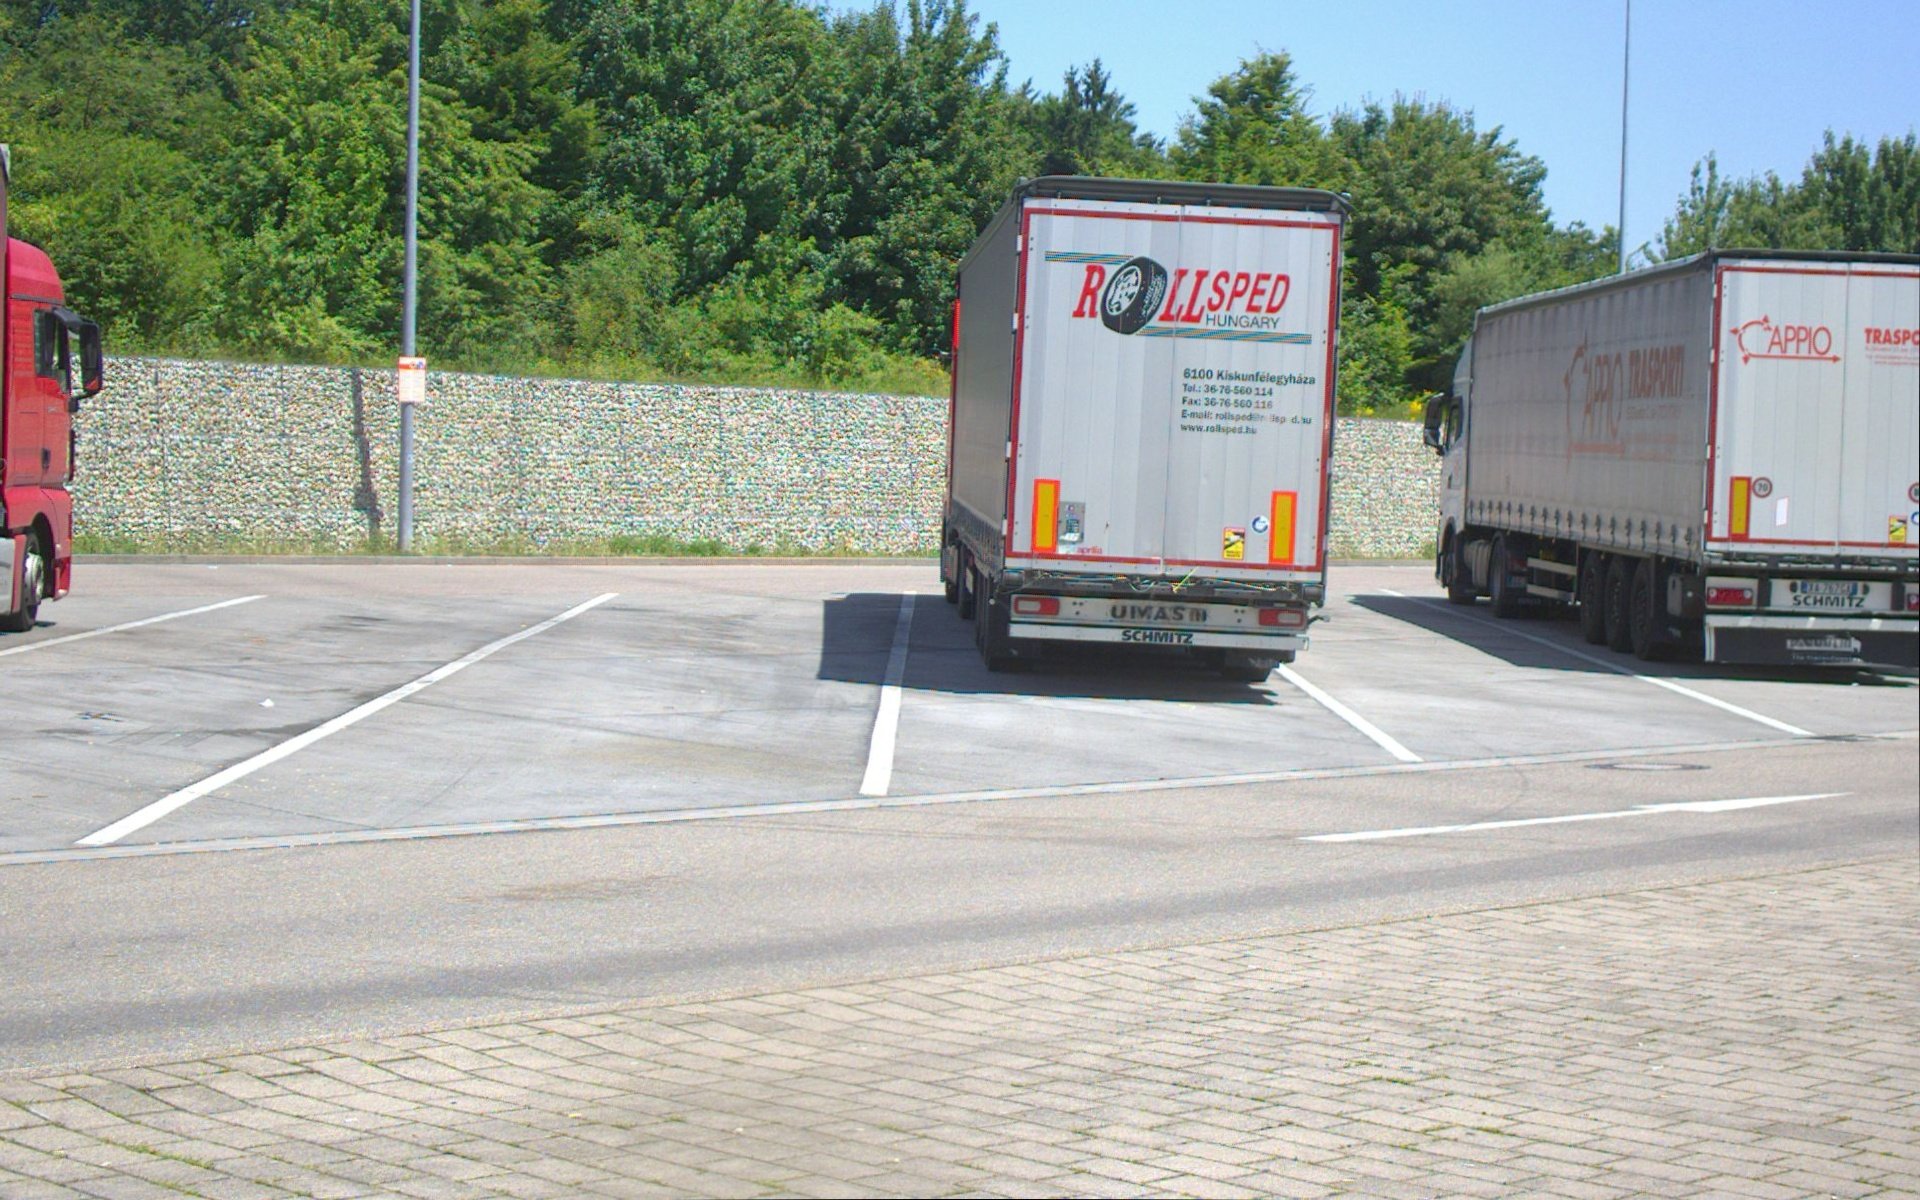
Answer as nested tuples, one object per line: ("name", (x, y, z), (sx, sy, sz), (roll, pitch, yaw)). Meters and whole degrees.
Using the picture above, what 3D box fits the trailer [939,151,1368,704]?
("trailer", (1.437, -1.621, 33.175), (2.906, 4.118, 13.725), (2, 3, -1))

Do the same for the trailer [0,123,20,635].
("trailer", (-9.149, -1.489, 21.279), (2.906, 4.118, 13.725), (2, 3, -1))

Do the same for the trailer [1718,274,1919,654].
("trailer", (11.791, -1.529, 39.417), (2.838, 4.118, 13.724), (2, 3, -1))

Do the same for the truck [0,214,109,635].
("truck", (-9.239, -1.504, 28.717), (2.852, 3.416, 5.483), (2, 2, -1))

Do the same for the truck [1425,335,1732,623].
("truck", (8.061, -1.623, 45.478), (2.852, 3.472, 5.483), (2, 2, -1))

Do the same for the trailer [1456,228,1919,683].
("trailer", (8.154, -1.626, 38.665), (2.838, 4.118, 13.724), (2, 3, -1))

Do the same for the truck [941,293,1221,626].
("truck", (1.288, -1.628, 39.788), (2.852, 3.472, 5.483), (2, 2, -1))
